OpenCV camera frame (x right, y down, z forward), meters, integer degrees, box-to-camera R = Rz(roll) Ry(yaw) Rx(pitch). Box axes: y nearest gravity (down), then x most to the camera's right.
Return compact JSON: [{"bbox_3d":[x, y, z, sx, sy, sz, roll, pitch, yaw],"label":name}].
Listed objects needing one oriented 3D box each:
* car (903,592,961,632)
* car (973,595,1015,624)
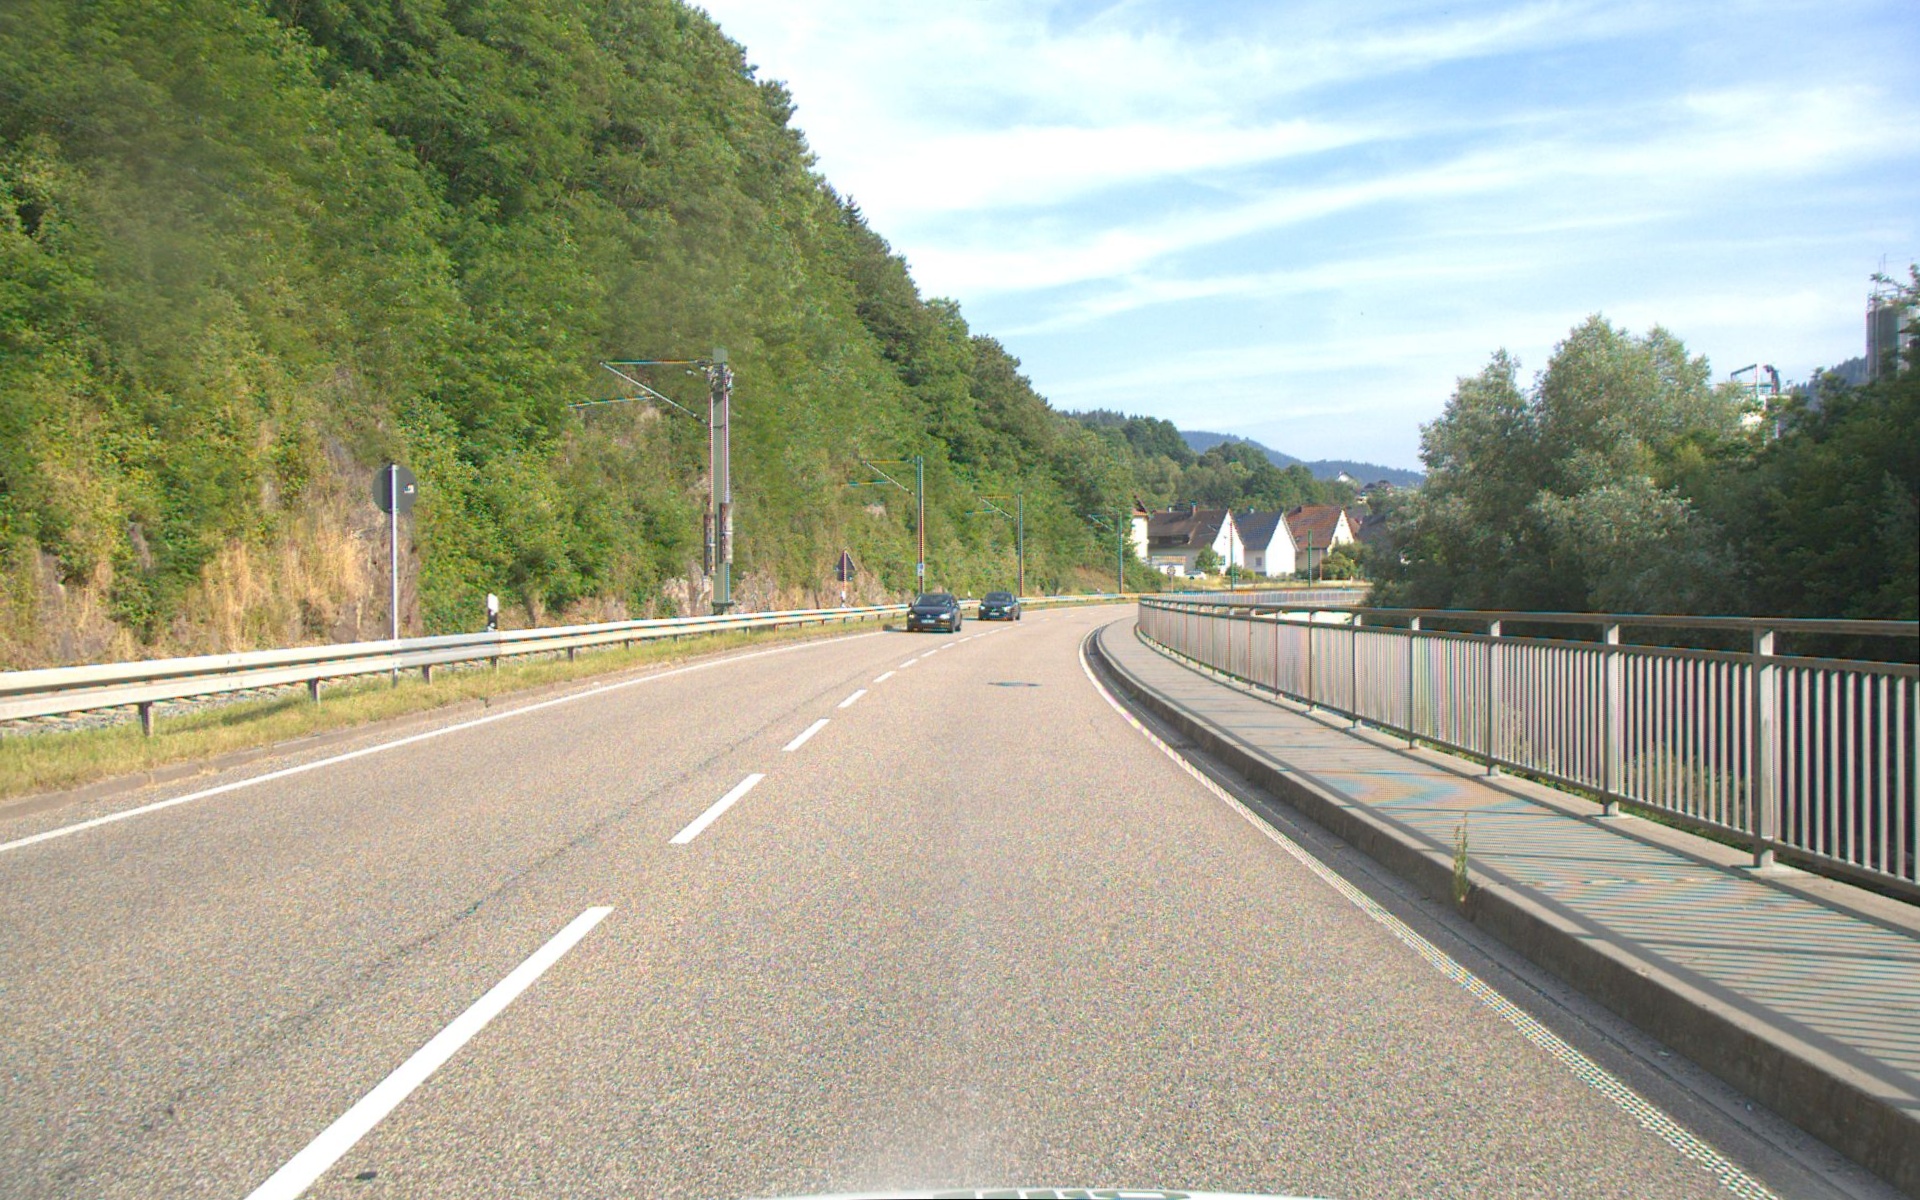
[{"bbox_3d":[-1.030,0.433,62.713,1.808,1.465,3.899,1,0,5],"label":"car"},{"bbox_3d":[1.774,0.480,85.017,1.808,1.426,4.479,0,0,5],"label":"car"}]
